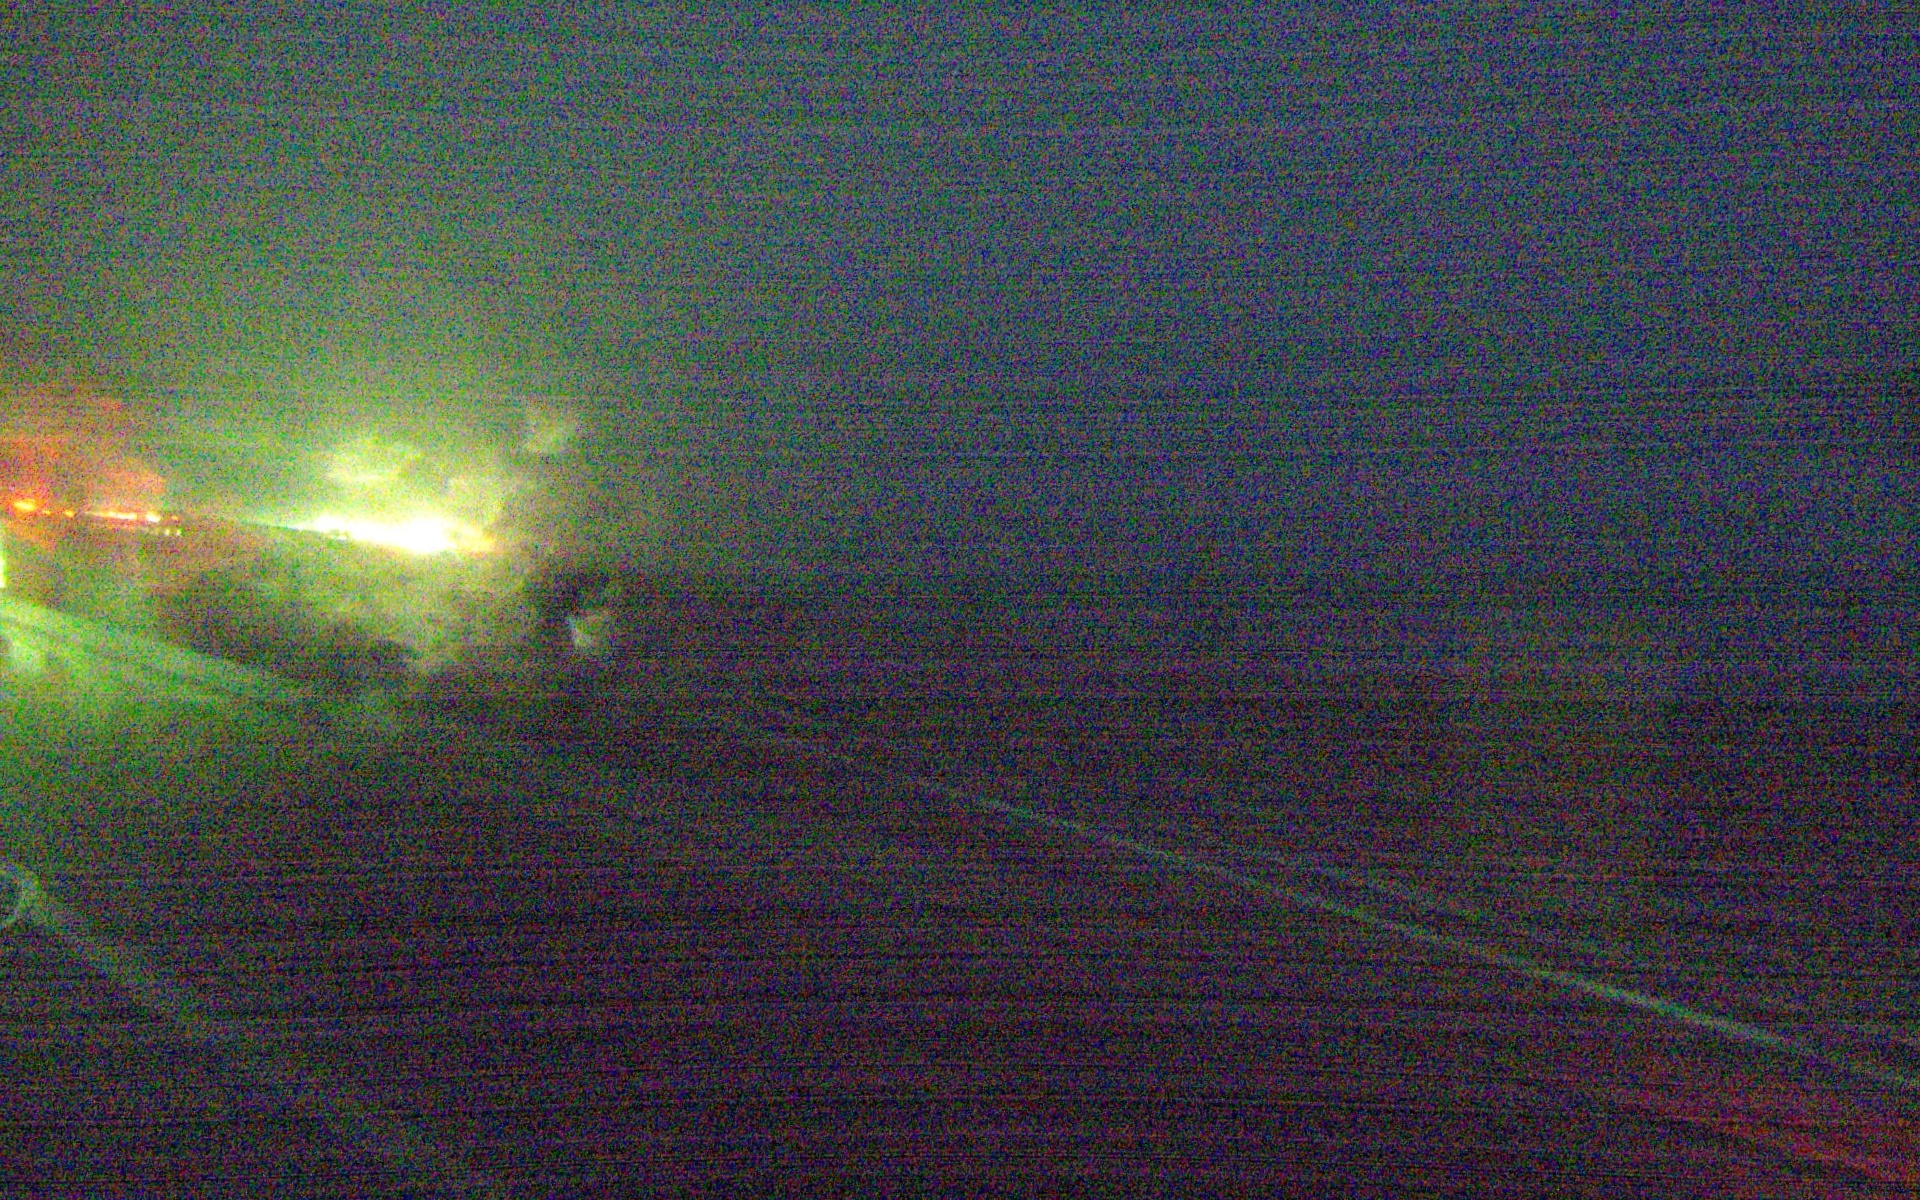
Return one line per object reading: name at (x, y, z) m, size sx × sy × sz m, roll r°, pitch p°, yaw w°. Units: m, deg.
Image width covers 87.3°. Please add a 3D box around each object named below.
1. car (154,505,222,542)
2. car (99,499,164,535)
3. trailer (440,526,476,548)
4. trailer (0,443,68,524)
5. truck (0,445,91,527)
car at (-49.594, -4.867, 64.722) m, size 1.971 × 1.840 × 3.986 m, roll 9°, pitch -1°, yaw -16°
car at (-60.029, -5.971, 72.984) m, size 1.970 × 2.037 × 3.988 m, roll 9°, pitch -1°, yaw -15°
trailer at (-82.998, -10.320, 166.611) m, size 2.656 × 2.731 × 12.815 m, roll 9°, pitch -1°, yaw -16°
trailer at (-49.093, -6.172, 48.957) m, size 2.563 × 3.767 × 13.607 m, roll 9°, pitch -2°, yaw -16°
truck at (-50.987, -6.261, 55.257) m, size 2.560 × 3.753 × 5.438 m, roll 9°, pitch -1°, yaw -18°
